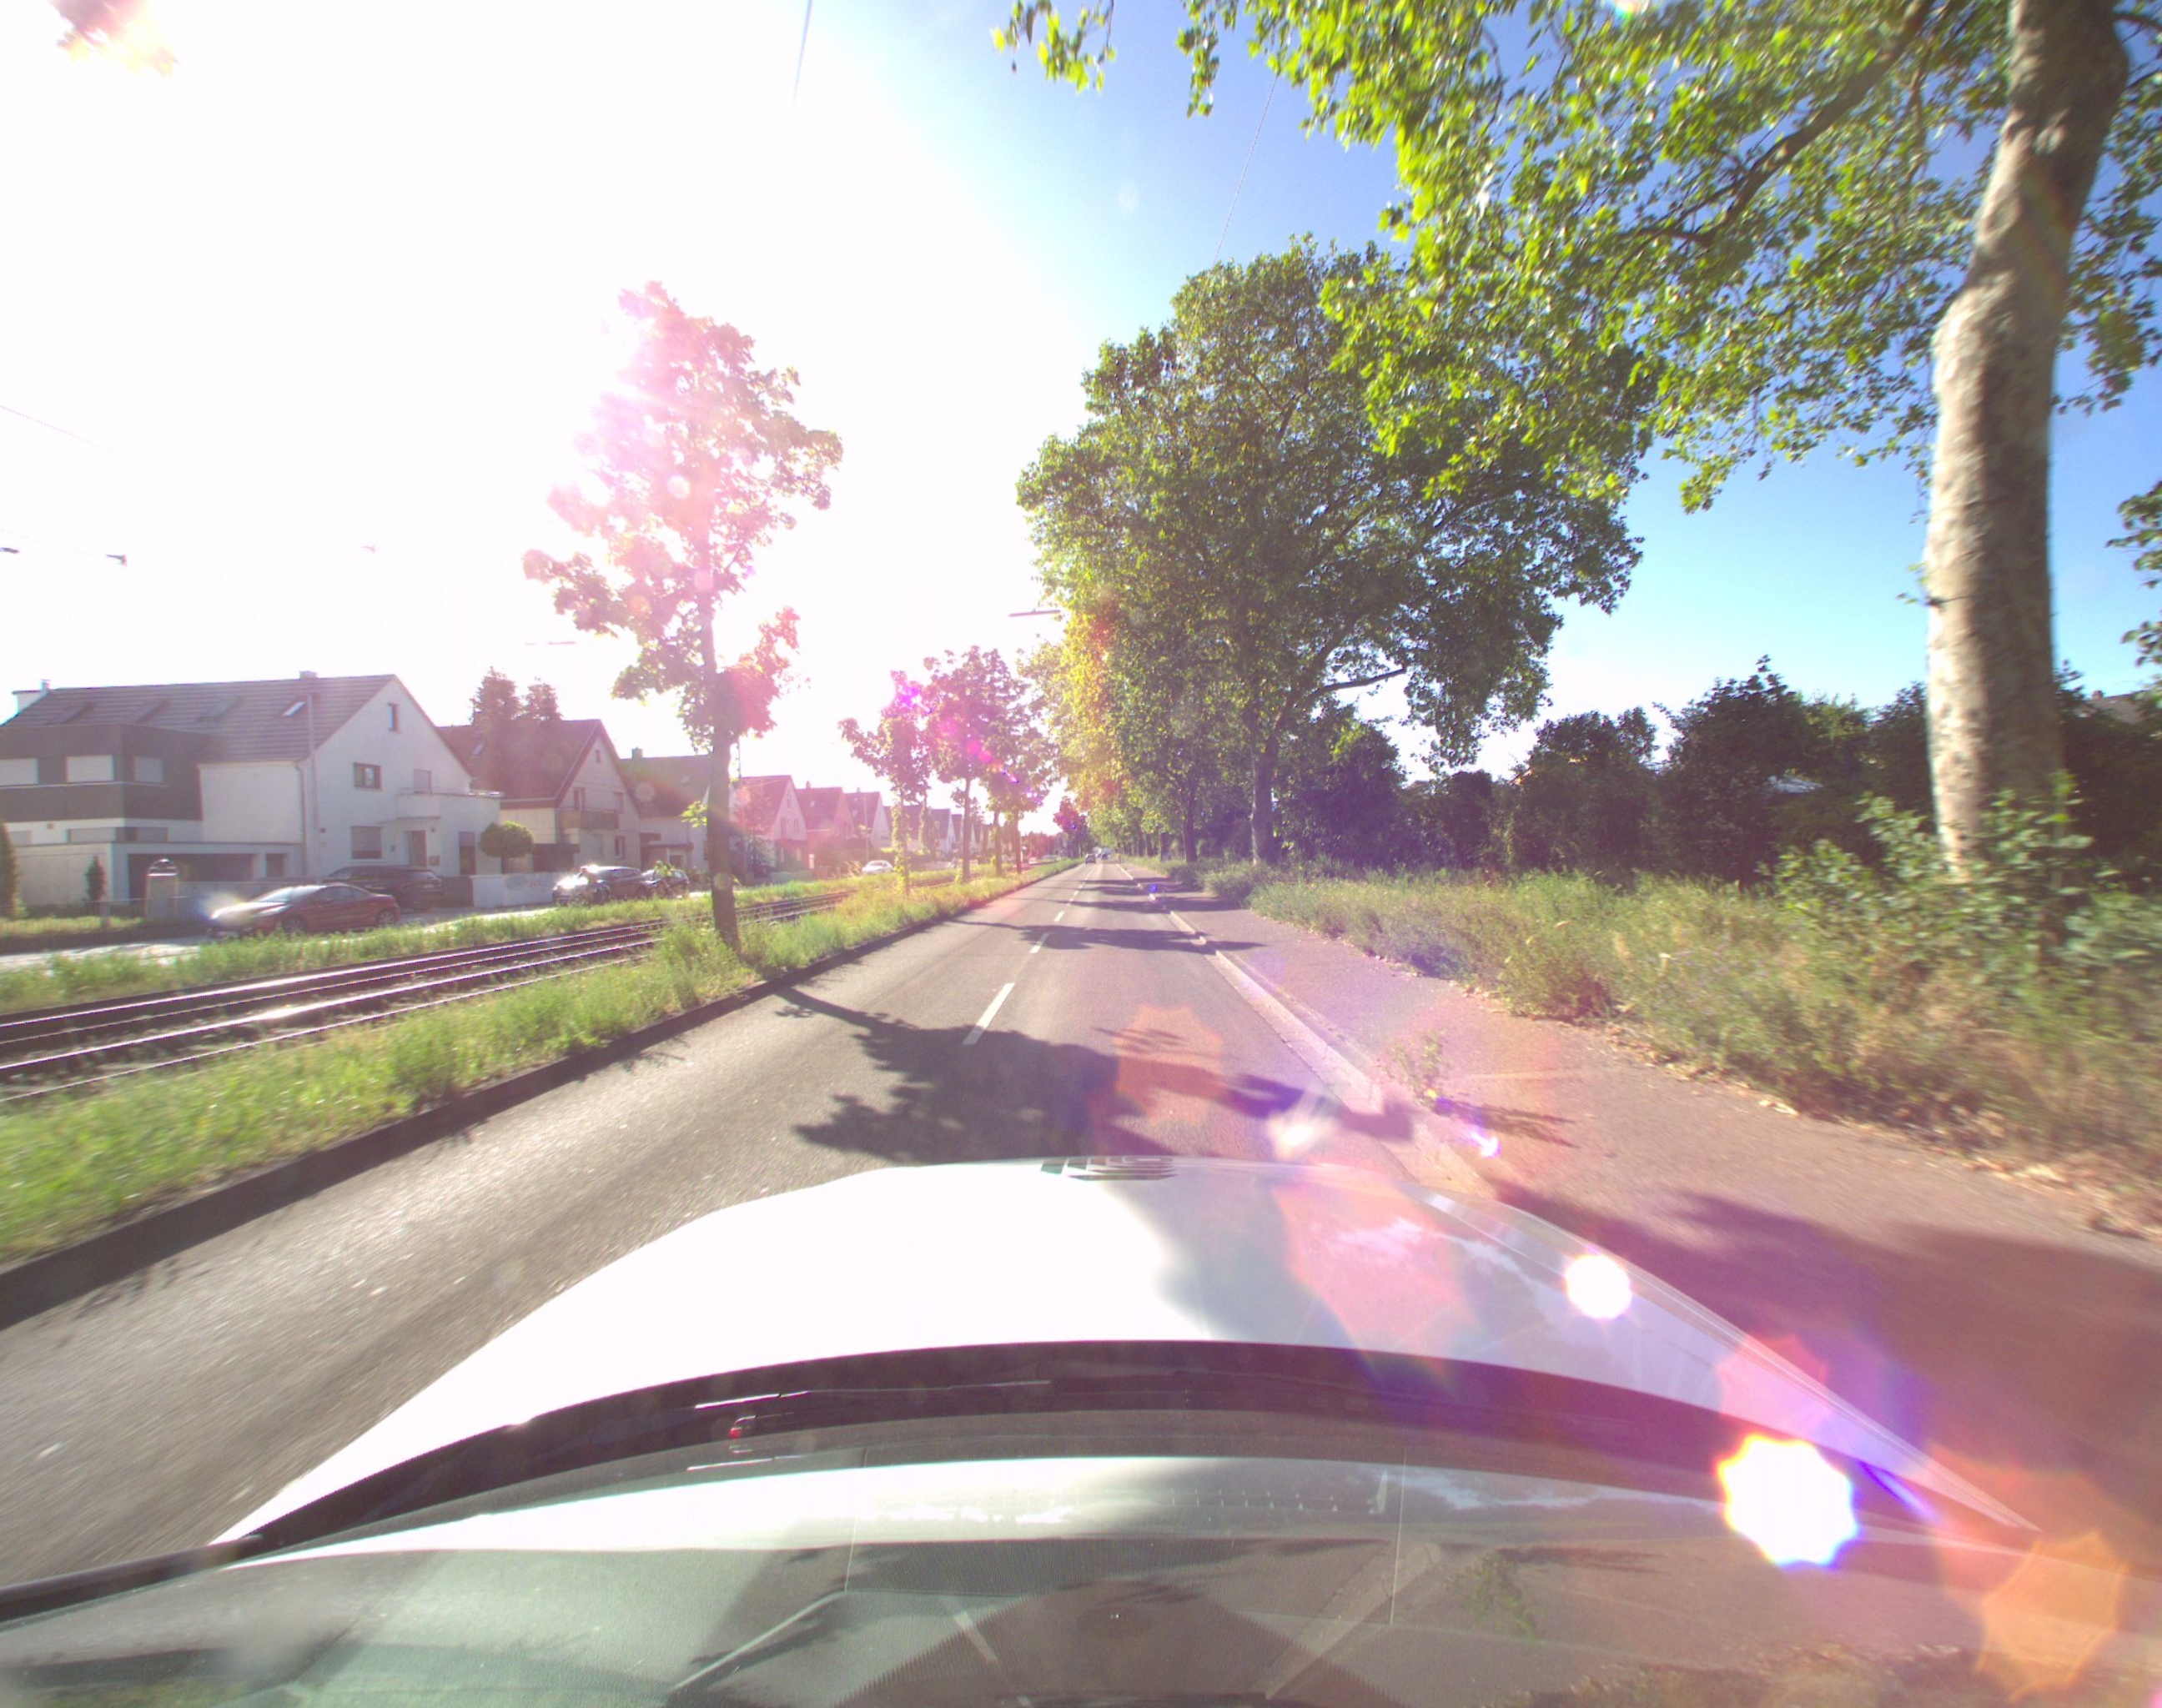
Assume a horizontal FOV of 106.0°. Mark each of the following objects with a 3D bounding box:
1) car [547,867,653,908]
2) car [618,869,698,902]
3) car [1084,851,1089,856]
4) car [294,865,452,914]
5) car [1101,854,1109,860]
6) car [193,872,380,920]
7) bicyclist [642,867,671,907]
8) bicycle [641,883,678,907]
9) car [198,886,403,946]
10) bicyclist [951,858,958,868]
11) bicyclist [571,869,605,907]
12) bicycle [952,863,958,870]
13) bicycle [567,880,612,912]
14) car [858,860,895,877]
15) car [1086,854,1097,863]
[{"bbox_3d":[-20.061,1.342,34.209,1.637,1.568,4.389,-1,-1,3],"label":"car"},{"bbox_3d":[-19.886,1.451,38.472,1.608,1.451,3.990,-1,-1,2],"label":"car"},{"bbox_3d":[1.732,-0.264,250.857,1.521,1.455,3.289,-1,-1,3],"label":"car"},{"bbox_3d":[-25.919,1.265,29.935,3.977,1.669,1.998,-1,-1,-3],"label":"car"},{"bbox_3d":[5.650,0.680,192.544,1.754,1.513,3.278,-1,-1,2],"label":"car"},{"bbox_3d":[-26.330,1.373,27.128,4.202,1.463,1.936,-1,-1,-3],"label":"car"},{"bbox_3d":[-17.981,1.390,34.520,0.686,1.652,0.882,-2,0,1],"label":"bicyclist"},{"bbox_3d":[-17.958,1.735,34.731,0.397,0.927,2.097,-2,0,2],"label":"bicycle"},{"bbox_3d":[-20.666,1.588,21.816,1.487,1.326,4.003,-1,-1,3],"label":"car"},{"bbox_3d":[-16.035,1.189,103.519,0.796,1.278,0.736,-1,-1,-2],"label":"bicyclist"},{"bbox_3d":[-18.140,1.246,29.990,0.686,1.337,0.882,-2,0,1],"label":"bicyclist"},{"bbox_3d":[-16.003,1.600,103.443,0.440,0.901,2.059,-1,-1,-3],"label":"bicycle"},{"bbox_3d":[-18.065,1.532,29.968,0.397,1.070,1.881,-2,0,2],"label":"bicycle"},{"bbox_3d":[-19.417,1.346,77.565,1.984,1.599,4.738,-1,-1,5],"label":"car"},{"bbox_3d":[1.613,0.728,124.842,1.732,1.401,3.277,-1,-1,1],"label":"car"}]
